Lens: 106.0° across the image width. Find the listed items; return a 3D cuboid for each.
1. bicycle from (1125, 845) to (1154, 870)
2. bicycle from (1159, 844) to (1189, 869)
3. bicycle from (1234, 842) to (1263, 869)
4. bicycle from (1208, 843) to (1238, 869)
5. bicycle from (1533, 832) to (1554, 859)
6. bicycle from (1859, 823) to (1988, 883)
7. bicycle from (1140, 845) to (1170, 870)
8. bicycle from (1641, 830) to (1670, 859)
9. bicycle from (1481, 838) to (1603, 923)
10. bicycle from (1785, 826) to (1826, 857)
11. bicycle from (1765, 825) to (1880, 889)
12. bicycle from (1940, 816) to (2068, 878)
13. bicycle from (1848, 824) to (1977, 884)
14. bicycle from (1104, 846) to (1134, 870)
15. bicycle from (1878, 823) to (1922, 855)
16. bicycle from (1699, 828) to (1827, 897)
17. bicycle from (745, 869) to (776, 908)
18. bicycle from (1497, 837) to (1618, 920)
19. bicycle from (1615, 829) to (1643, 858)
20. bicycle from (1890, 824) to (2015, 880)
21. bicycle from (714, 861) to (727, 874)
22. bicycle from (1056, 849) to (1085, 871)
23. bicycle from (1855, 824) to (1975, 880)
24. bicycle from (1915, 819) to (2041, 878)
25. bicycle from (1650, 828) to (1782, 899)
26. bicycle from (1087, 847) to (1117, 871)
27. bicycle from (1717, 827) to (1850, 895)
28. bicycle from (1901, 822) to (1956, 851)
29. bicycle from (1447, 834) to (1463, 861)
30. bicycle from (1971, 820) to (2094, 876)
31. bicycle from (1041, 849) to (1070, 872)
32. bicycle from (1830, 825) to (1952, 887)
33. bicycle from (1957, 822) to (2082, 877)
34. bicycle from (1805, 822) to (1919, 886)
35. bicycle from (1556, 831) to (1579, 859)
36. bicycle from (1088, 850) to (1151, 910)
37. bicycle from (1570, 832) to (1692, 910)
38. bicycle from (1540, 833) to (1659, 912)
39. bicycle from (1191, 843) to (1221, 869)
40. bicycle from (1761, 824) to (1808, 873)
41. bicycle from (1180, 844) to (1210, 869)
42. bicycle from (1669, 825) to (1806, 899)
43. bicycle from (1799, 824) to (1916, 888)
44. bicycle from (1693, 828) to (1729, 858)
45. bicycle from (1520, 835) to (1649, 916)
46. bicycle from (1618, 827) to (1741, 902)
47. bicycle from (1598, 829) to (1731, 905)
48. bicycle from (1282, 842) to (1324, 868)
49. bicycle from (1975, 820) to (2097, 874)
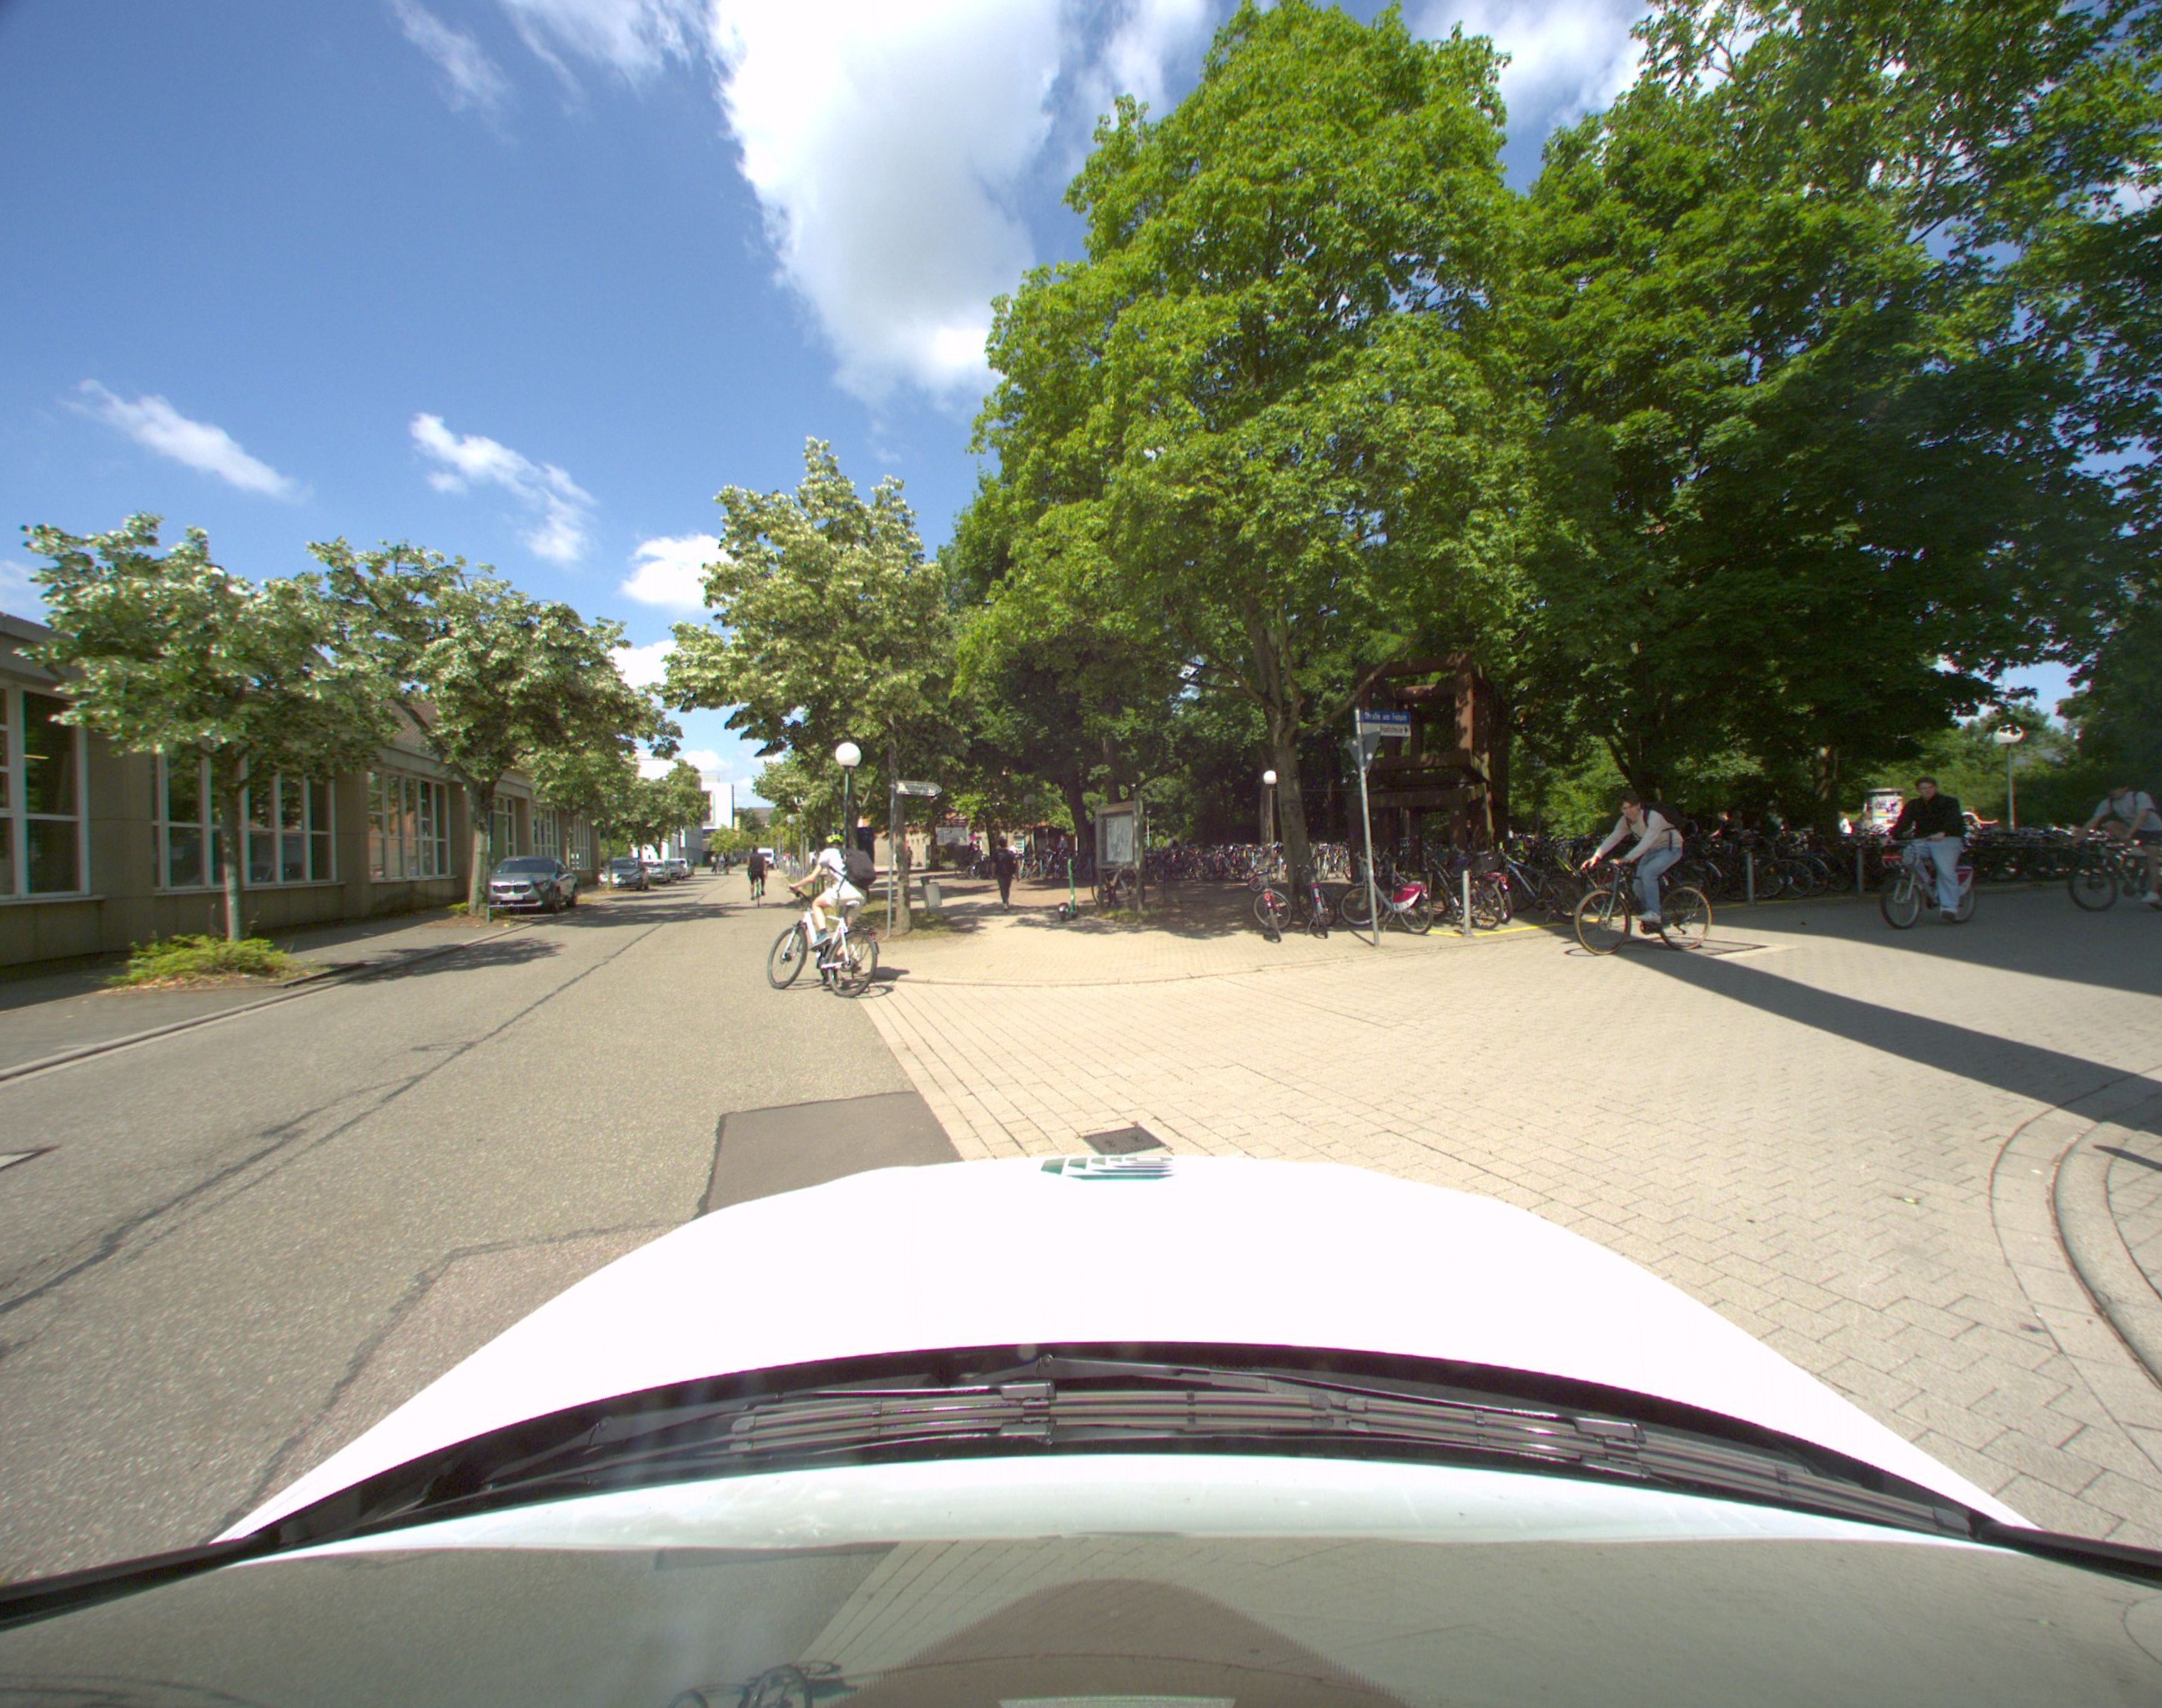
[{"bbox_3d":[2.736,0.149,38.001,0.468,1.083,1.710,0,1,39],"label":"bicycle"},{"bbox_3d":[4.193,0.113,36.482,0.468,1.083,1.710,0,1,39],"label":"bicycle"},{"bbox_3d":[7.077,0.042,34.411,0.468,1.083,1.710,0,1,39],"label":"bicycle"},{"bbox_3d":[6.145,0.064,35.212,0.468,1.083,1.710,0,1,39],"label":"bicycle"},{"bbox_3d":[19.142,-0.359,33.727,0.511,1.110,1.787,0,1,21],"label":"bicycle"},{"bbox_3d":[16.810,-0.033,16.299,0.498,1.126,1.726,-1,1,-26],"label":"bicycle"},{"bbox_3d":[3.388,0.131,37.188,0.468,1.083,1.710,0,1,39],"label":"bicycle"},{"bbox_3d":[22.605,-0.400,32.062,0.511,1.110,1.787,0,1,21],"label":"bicycle"},{"bbox_3d":[6.439,0.333,11.467,0.496,1.108,1.621,-1,1,-16],"label":"bicycle"},{"bbox_3d":[27.401,-0.485,30.830,0.469,1.110,1.786,-1,1,17],"label":"bicycle"},{"bbox_3d":[13.728,0.037,15.136,0.560,1.108,1.626,-1,1,-7],"label":"bicycle"},{"bbox_3d":[19.423,-0.159,17.182,0.498,1.235,1.725,-1,1,-28],"label":"bicycle"},{"bbox_3d":[16.267,-0.009,15.983,0.497,1.108,1.728,-1,1,-21],"label":"bicycle"},{"bbox_3d":[1.821,0.171,38.596,0.468,1.083,1.710,0,1,39],"label":"bicycle"},{"bbox_3d":[29.623,-0.549,29.472,0.468,1.110,1.788,0,1,22],"label":"bicycle"},{"bbox_3d":[11.572,0.122,13.875,0.498,1.108,1.616,-1,1,-26],"label":"bicycle"},{"bbox_3d":[-9.950,1.038,25.244,0.672,1.108,2.054,-3,1,-27],"label":"bicycle"},{"bbox_3d":[6.896,0.315,11.869,0.496,1.108,1.621,-1,1,-16],"label":"bicycle"},{"bbox_3d":[21.778,-0.417,32.391,0.511,1.110,1.787,0,1,21],"label":"bicycle"},{"bbox_3d":[18.151,-0.061,17.007,0.499,1.108,1.722,-1,1,-33],"label":"bicycle"},{"bbox_3d":[-32.312,1.181,73.049,0.477,1.083,1.679,-2,1,-44],"label":"bicycle"},{"bbox_3d":[-0.507,0.281,41.409,0.468,1.083,1.710,0,1,39],"label":"bicycle"},{"bbox_3d":[17.271,-0.050,16.920,1.719,1.108,0.500,0,1,45],"label":"bicycle"},{"bbox_3d":[18.834,-0.118,17.153,0.497,1.178,1.728,-1,1,-22],"label":"bicycle"},{"bbox_3d":[10.497,0.134,13.520,0.646,1.108,1.616,-1,1,-26],"label":"bicycle"},{"bbox_3d":[1.039,0.245,39.363,0.468,1.083,1.710,0,1,39],"label":"bicycle"},{"bbox_3d":[12.388,0.099,14.429,0.717,1.108,1.721,-1,1,-10],"label":"bicycle"},{"bbox_3d":[32.588,-0.676,31.347,0.470,1.110,1.782,-1,1,8],"label":"bicycle"},{"bbox_3d":[15.978,-0.305,34.824,0.511,1.110,1.787,0,1,21],"label":"bicycle"},{"bbox_3d":[20.384,-0.136,17.483,0.476,1.145,1.682,-1,1,-33],"label":"bicycle"},{"bbox_3d":[-1.311,0.325,42.007,0.468,1.083,1.710,0,1,39],"label":"bicycle"},{"bbox_3d":[15.471,0.021,15.622,0.571,1.108,1.739,-1,1,-2],"label":"bicycle"},{"bbox_3d":[19.892,-0.113,17.301,0.499,1.108,1.683,-1,1,-32],"label":"bicycle"},{"bbox_3d":[14.815,-0.010,15.505,0.495,1.143,1.626,-1,1,-7],"label":"bicycle"},{"bbox_3d":[20.027,-0.372,33.545,0.511,1.110,1.787,0,1,21],"label":"bicycle"},{"bbox_3d":[0.750,0.494,16.433,0.394,1.108,1.823,-1,1,-27],"label":"bicycle"},{"bbox_3d":[8.430,0.230,12.560,0.496,1.108,1.621,-1,1,-16],"label":"bicycle"},{"bbox_3d":[7.882,0.249,12.460,0.505,1.108,1.621,-1,1,-16],"label":"bicycle"},{"bbox_3d":[5.496,0.077,35.670,0.468,1.083,1.710,0,1,39],"label":"bicycle"},{"bbox_3d":[17.853,-0.148,20.690,0.568,1.199,1.710,0,1,29],"label":"bicycle"},{"bbox_3d":[5.064,0.095,36.075,0.468,1.083,1.710,0,1,39],"label":"bicycle"},{"bbox_3d":[11.067,0.112,13.805,0.498,1.161,1.770,-1,1,-26],"label":"bicycle"},{"bbox_3d":[14.323,0.018,15.082,0.495,1.108,1.626,-1,1,-7],"label":"bicycle"},{"bbox_3d":[24.461,-0.433,31.650,0.511,1.110,1.786,-1,1,17],"label":"bicycle"},{"bbox_3d":[7.417,0.285,12.083,0.629,1.108,1.620,-1,1,-17],"label":"bicycle"},{"bbox_3d":[9.748,0.145,13.325,0.497,1.150,1.618,-1,1,-21],"label":"bicycle"},{"bbox_3d":[9.112,0.179,12.794,0.690,1.108,1.621,-1,1,-16],"label":"bicycle"},{"bbox_3d":[9.610,0.024,35.295,0.607,1.083,1.679,-2,1,-44],"label":"bicycle"},{"bbox_3d":[20.772,-0.161,17.750,0.476,1.108,1.682,-1,1,-33],"label":"bicycle"}]
